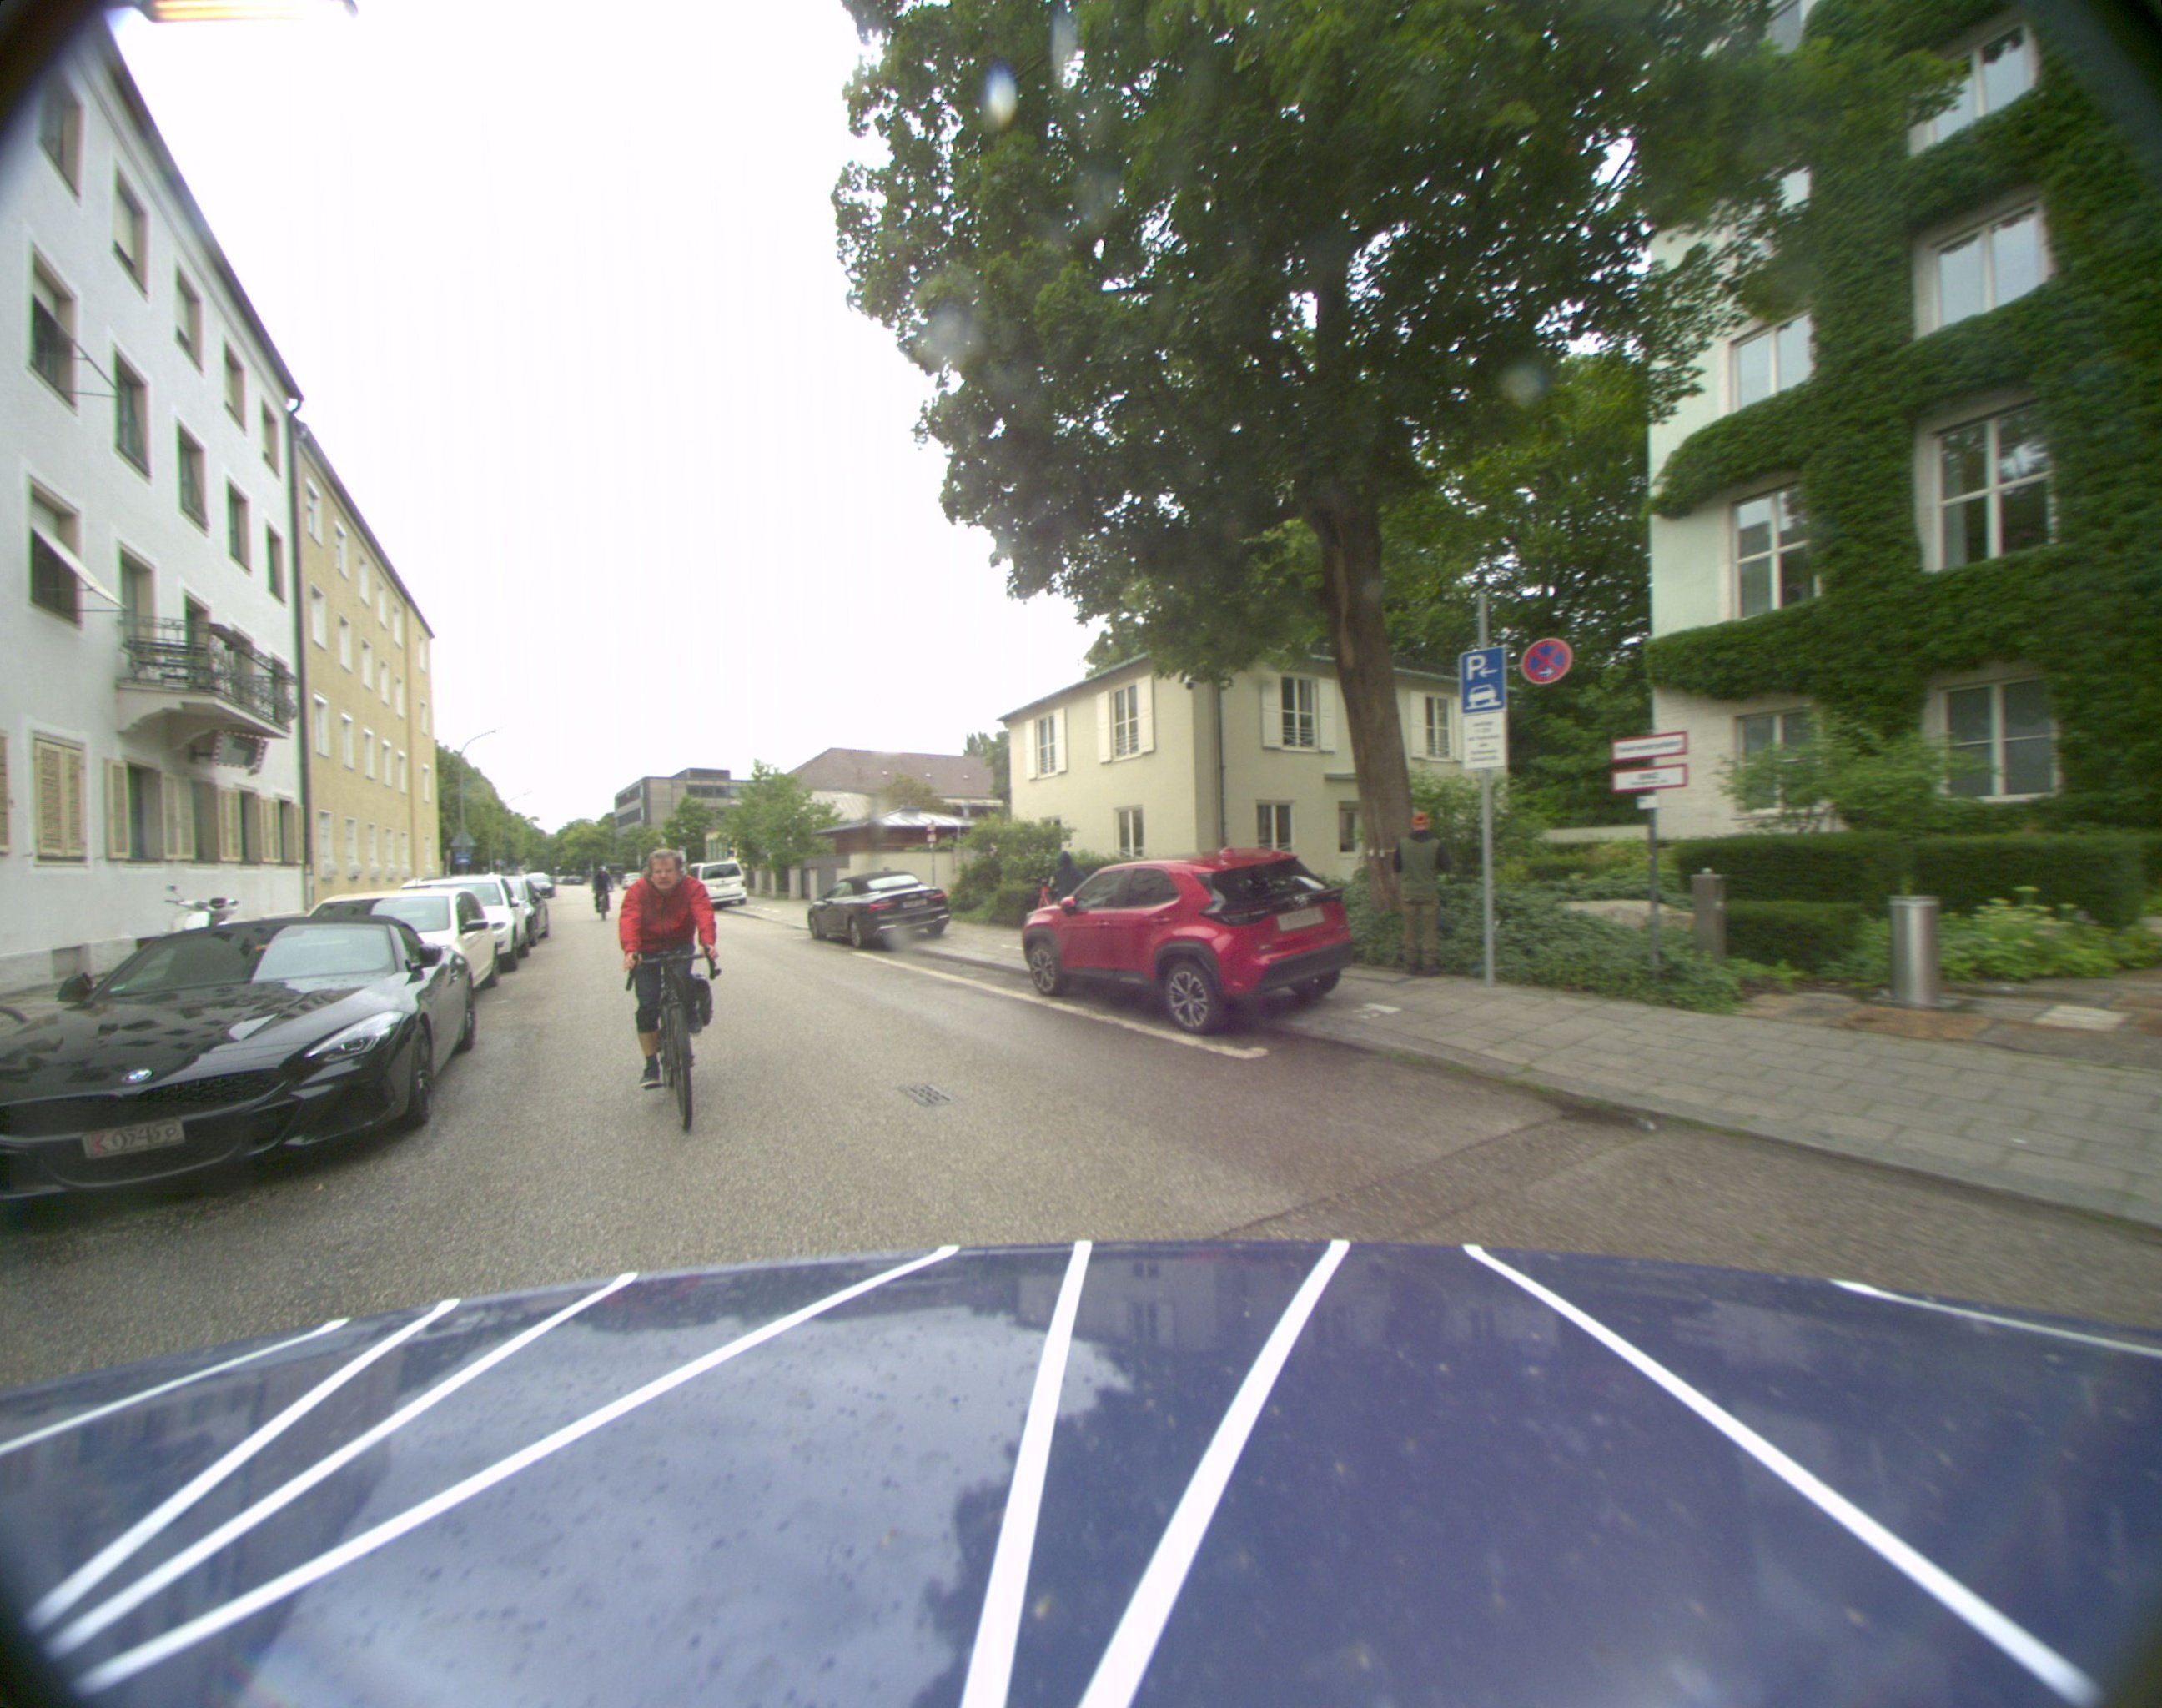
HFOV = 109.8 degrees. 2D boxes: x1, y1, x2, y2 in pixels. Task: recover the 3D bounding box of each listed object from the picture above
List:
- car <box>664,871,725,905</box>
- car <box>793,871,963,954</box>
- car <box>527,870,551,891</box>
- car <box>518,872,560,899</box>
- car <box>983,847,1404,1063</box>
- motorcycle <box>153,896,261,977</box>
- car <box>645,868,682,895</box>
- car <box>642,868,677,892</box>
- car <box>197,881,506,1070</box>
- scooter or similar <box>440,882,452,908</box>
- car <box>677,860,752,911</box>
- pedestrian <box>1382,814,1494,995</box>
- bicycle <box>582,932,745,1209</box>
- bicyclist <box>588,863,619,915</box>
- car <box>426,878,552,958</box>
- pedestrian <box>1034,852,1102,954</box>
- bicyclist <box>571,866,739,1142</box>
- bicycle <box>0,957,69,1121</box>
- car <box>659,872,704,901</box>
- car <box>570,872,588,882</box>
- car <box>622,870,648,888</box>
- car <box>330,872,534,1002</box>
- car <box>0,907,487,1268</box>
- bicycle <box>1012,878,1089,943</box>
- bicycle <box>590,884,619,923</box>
[{"bbox_3d":[-19.563,1.663,38.336,1.897,1.534,4.684,-2,0,-37],"label":"car"},{"bbox_3d":[-4.511,1.118,16.302,1.816,1.394,4.911,-3,1,-36],"label":"car"},{"bbox_3d":[-52.778,2.517,74.036,1.793,1.885,4.562,-3,1,-35],"label":"car"},{"bbox_3d":[-37.249,2.120,52.311,2.003,1.622,5.087,-3,1,-32],"label":"car"},{"bbox_3d":[0.846,0.806,8.205,1.896,1.581,4.516,-3,1,-33],"label":"car"},{"bbox_3d":[-15.627,1.426,13.655,0.736,1.232,2.002,-4,1,-34],"label":"motorcycle"},{"bbox_3d":[-28.388,1.834,51.590,1.854,1.598,4.731,-3,1,-32],"label":"car"},{"bbox_3d":[-31.966,1.921,57.495,1.911,1.682,4.796,-3,1,-33],"label":"car"},{"bbox_3d":[-8.433,1.228,9.222,1.778,1.538,3.703,-7,3,-31],"label":"car"},{"bbox_3d":[-32.251,2.064,38.586,0.344,1.248,1.306,0,-1,-34],"label":"scooter or similar"},{"bbox_3d":[-16.188,1.314,33.429,1.976,1.979,5.138,-4,1,-36],"label":"car"},{"bbox_3d":[3.874,0.512,8.259,0.716,1.842,0.795,-4,2,-33],"label":"pedestrian"},{"bbox_3d":[-2.605,1.173,4.769,0.675,1.135,2.006,-3,1,-29],"label":"bicycle"},{"bbox_3d":[-15.917,1.158,25.318,0.782,1.657,1.032,-4,0,-33],"label":"bicyclist"},{"bbox_3d":[-13.585,1.364,17.682,1.848,1.522,4.405,-1,-1,-32],"label":"car"},{"bbox_3d":[-0.211,0.764,12.246,0.717,1.539,0.750,-4,2,-36],"label":"pedestrian"},{"bbox_3d":[-2.651,0.837,4.773,0.758,1.474,0.979,-3,2,-29],"label":"bicyclist"},{"bbox_3d":[-7.572,1.299,4.751,0.666,1.057,1.935,-1,0,-26],"label":"bicycle"},{"bbox_3d":[-22.410,1.787,42.539,1.868,1.535,4.177,0,-1,-33],"label":"car"},{"bbox_3d":[-76.551,3.451,115.807,1.934,1.390,4.475,-1,0,-39],"label":"car"},{"bbox_3d":[-42.248,2.334,71.886,1.733,1.483,4.450,-3,1,-35],"label":"car"},{"bbox_3d":[-10.887,1.223,13.127,2.003,1.697,4.523,-4,1,-33],"label":"car"},{"bbox_3d":[-5.620,1.132,5.248,2.010,1.311,4.584,1,-2,-33],"label":"car"},{"bbox_3d":[-0.618,1.032,14.489,0.652,1.124,2.043,-2,0,-27],"label":"bicycle"},{"bbox_3d":[-15.866,1.623,25.273,0.722,1.199,1.797,-4,0,-33],"label":"bicycle"}]
